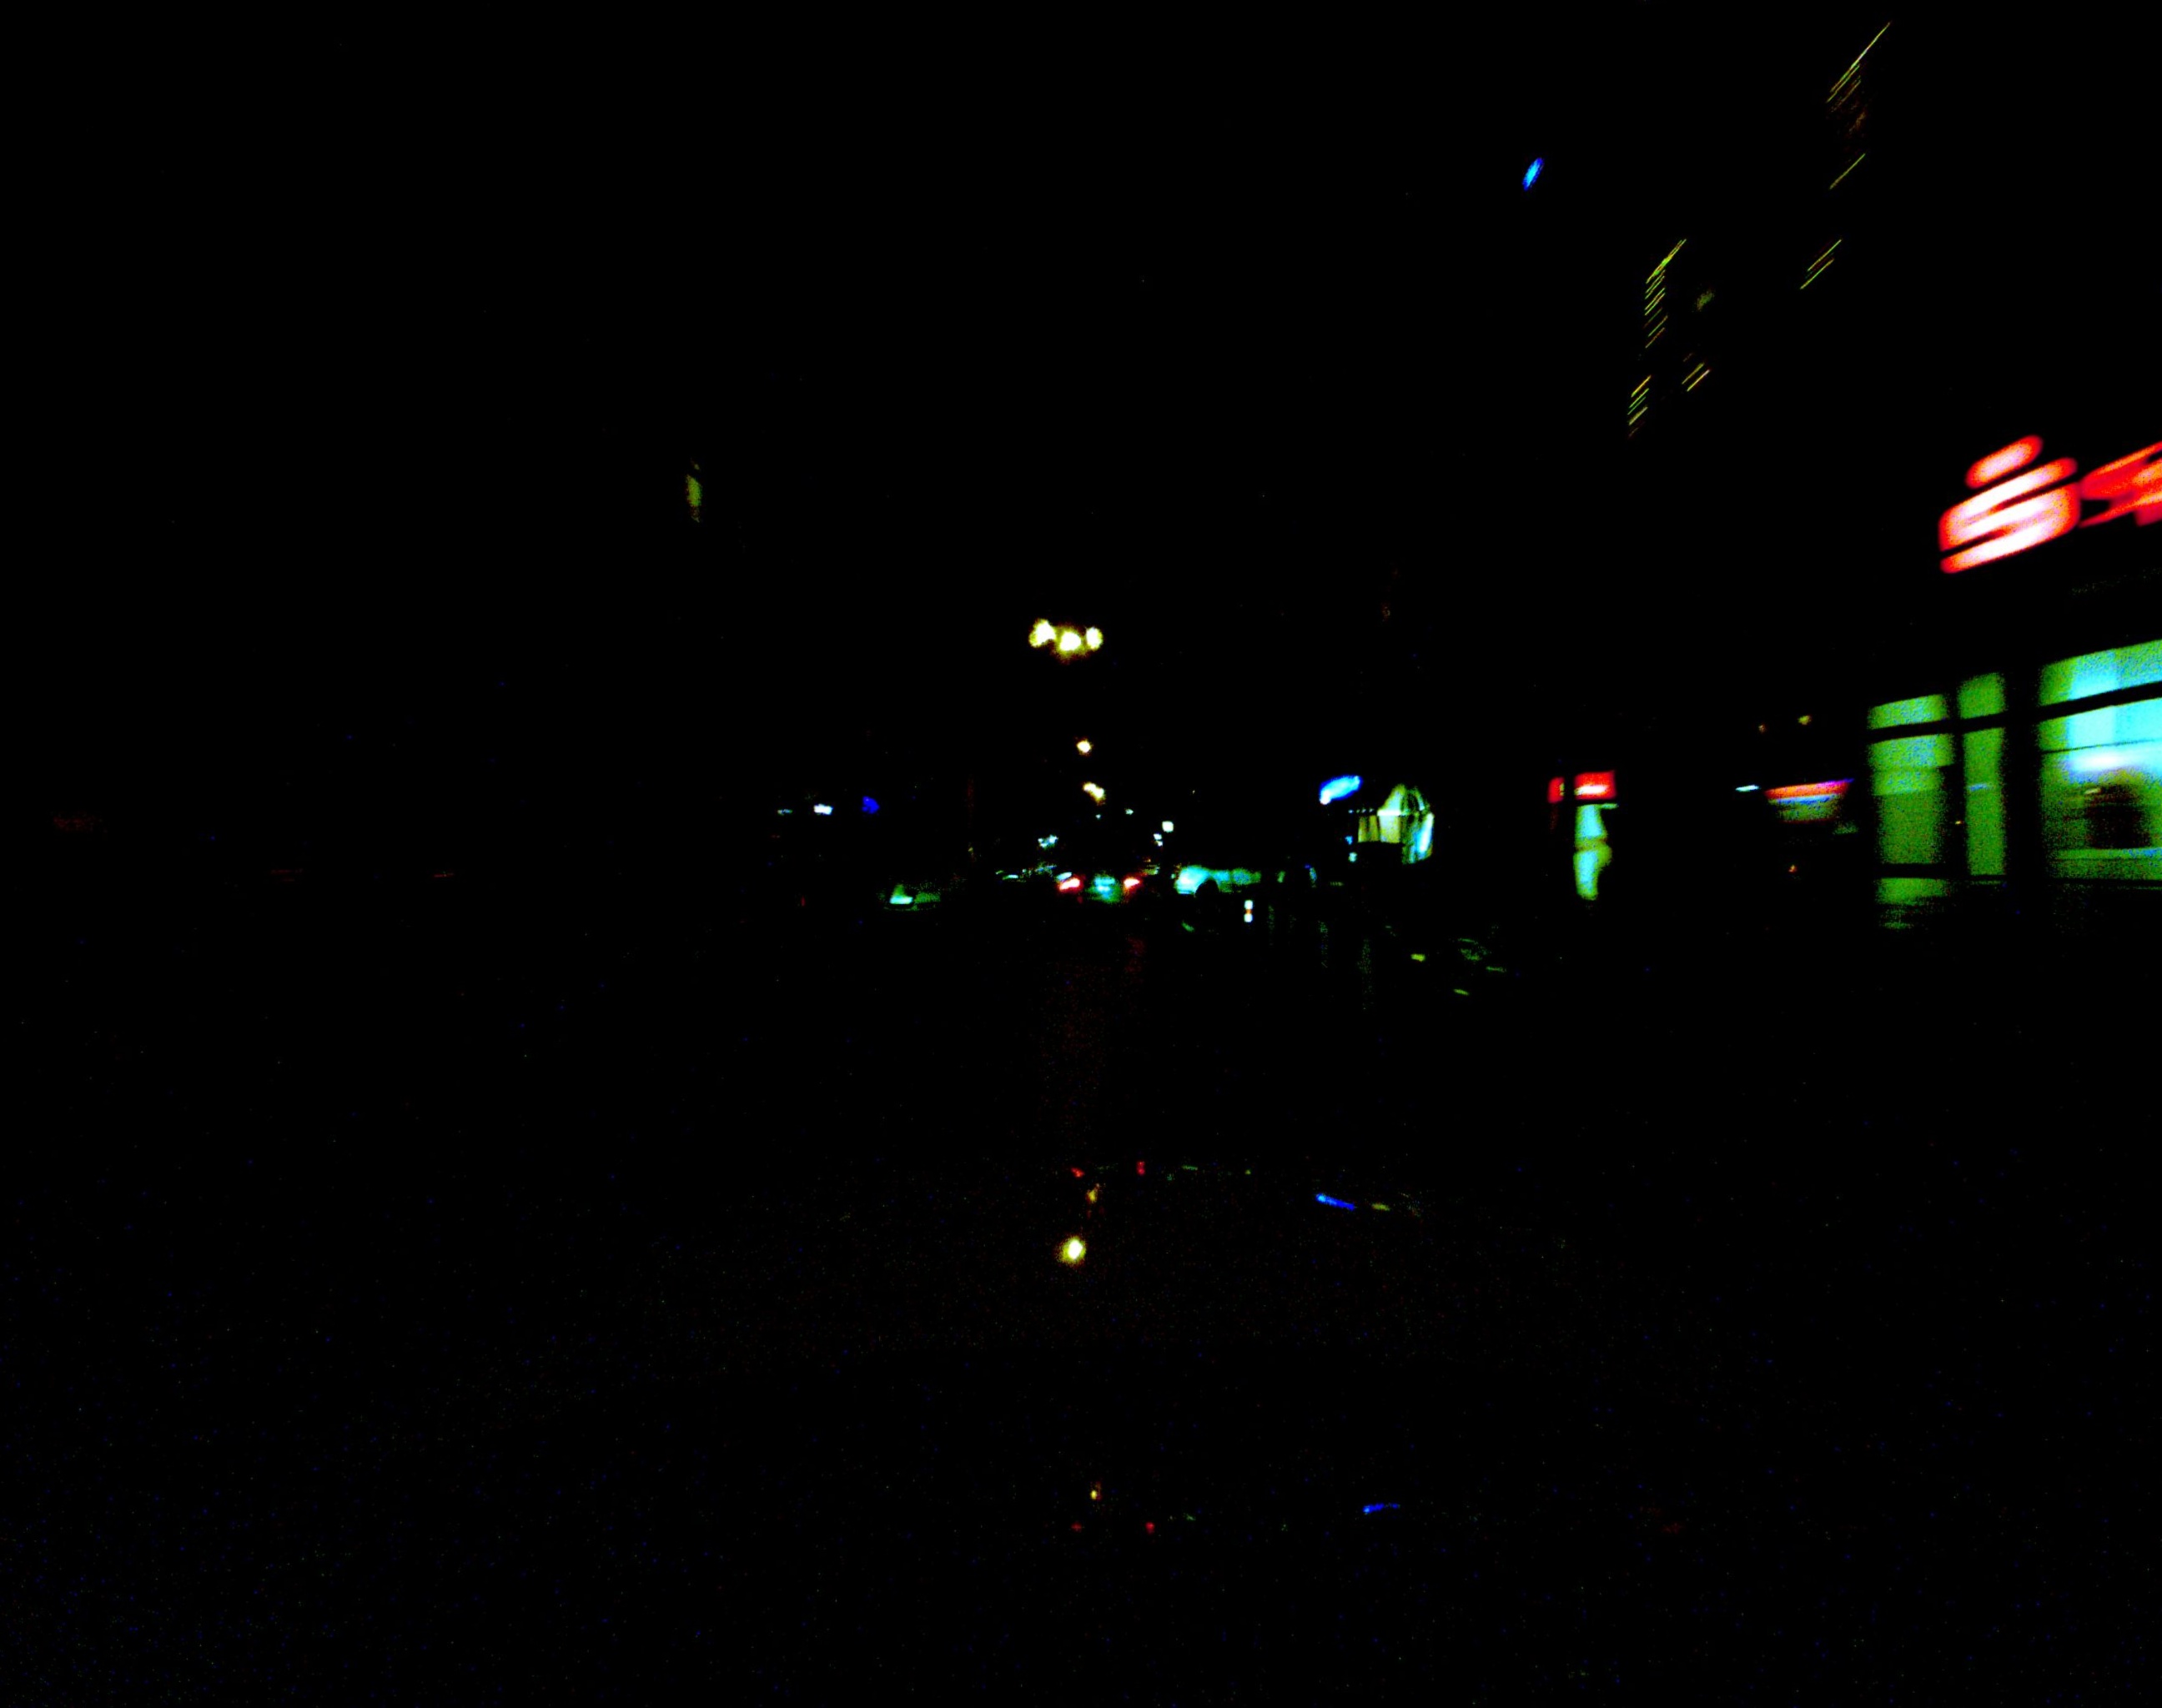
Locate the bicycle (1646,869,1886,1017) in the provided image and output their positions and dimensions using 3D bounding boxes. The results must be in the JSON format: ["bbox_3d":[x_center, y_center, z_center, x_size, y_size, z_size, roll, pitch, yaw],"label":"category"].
[{"bbox_3d":[5.379,0.682,6.424,1.525,0.952,0.366,-7,-1,-3],"label":"bicycle"}]

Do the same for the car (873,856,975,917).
[{"bbox_3d":[-4.428,0.855,23.736,1.760,1.483,4.775,2,0,3],"label":"car"}]

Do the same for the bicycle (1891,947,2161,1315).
[{"bbox_3d":[3.783,0.876,2.796,1.524,1.023,0.366,-7,-1,0],"label":"bicycle"}]

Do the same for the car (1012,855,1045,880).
[{"bbox_3d":[-3.431,0.838,53.693,1.768,1.572,4.136,-1,0,2],"label":"car"}]

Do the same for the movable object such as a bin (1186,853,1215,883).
[{"bbox_3d":[5.727,0.670,39.082,1.300,1.429,1.053,-1,0,11],"label":"movable object such as a bin"}]

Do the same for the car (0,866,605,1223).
[{"bbox_3d":[-5.079,0.852,5.363,1.563,1.460,3.722,-1,0,2],"label":"car"}]

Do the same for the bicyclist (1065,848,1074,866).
[{"bbox_3d":[-0.984,0.258,69.755,0.716,1.556,0.895,-2,0,1],"label":"bicyclist"}]

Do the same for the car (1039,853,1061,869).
[{"bbox_3d":[-2.986,0.672,78.816,1.826,1.486,4.596,-1,0,2],"label":"car"}]

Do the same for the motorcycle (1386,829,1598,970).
[{"bbox_3d":[5.243,0.565,10.504,2.165,1.547,0.867,-5,-1,1],"label":"motorcycle"}]

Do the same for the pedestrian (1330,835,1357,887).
[{"bbox_3d":[9.156,0.239,28.427,0.699,1.788,0.625,-3,1,5],"label":"pedestrian"}]

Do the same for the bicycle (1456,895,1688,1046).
[{"bbox_3d":[3.821,0.888,6.374,1.525,0.952,0.366,-7,-1,-3],"label":"bicycle"}]

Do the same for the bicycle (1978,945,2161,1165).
[{"bbox_3d":[5.039,0.838,3.626,1.521,0.833,0.326,-7,-1,5],"label":"bicycle"}]

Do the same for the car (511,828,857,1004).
[{"bbox_3d":[-4.907,0.644,11.188,1.988,1.829,5.209,-1,0,2],"label":"car"}]

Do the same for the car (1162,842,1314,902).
[{"bbox_3d":[4.987,0.554,26.298,4.496,1.530,1.780,-4,0,1],"label":"car"}]

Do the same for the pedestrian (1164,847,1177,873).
[{"bbox_3d":[6.360,0.401,57.967,0.858,1.788,1.084,-3,1,5],"label":"pedestrian"}]

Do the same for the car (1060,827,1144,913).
[{"bbox_3d":[0.607,0.385,22.093,1.988,2.049,4.697,-1,0,2],"label":"car"}]

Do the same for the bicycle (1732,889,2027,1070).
[{"bbox_3d":[5.212,0.795,5.343,1.525,0.952,0.366,-7,-1,-3],"label":"bicycle"}]

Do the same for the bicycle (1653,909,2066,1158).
[{"bbox_3d":[3.856,0.886,4.102,1.521,1.023,0.367,-7,-1,5],"label":"bicycle"}]

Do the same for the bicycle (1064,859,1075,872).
[{"bbox_3d":[-0.977,0.974,69.743,0.724,1.072,2.349,-2,0,2],"label":"bicycle"}]

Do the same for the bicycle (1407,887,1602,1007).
[{"bbox_3d":[3.985,0.877,7.738,1.520,0.952,0.367,-7,-1,9],"label":"bicycle"}]

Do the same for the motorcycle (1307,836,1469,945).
[{"bbox_3d":[5.123,0.597,13.717,2.280,1.588,0.867,-5,-1,1],"label":"motorcycle"}]

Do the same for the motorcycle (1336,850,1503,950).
[{"bbox_3d":[5.266,0.701,12.772,2.165,1.318,0.867,-5,-1,1],"label":"motorcycle"}]

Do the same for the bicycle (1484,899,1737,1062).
[{"bbox_3d":[3.824,0.896,5.916,1.525,0.952,0.366,-7,-1,-3],"label":"bicycle"}]

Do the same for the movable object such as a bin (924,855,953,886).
[{"bbox_3d":[-6.996,0.803,40.029,1.098,1.454,1.378,-2,0,0],"label":"movable object such as a bin"}]

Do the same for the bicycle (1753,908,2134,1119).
[{"bbox_3d":[4.740,0.872,4.532,1.521,0.952,0.367,-7,-1,5],"label":"bicycle"}]

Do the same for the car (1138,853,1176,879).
[{"bbox_3d":[4.540,0.688,49.099,1.986,1.464,4.418,-1,0,2],"label":"car"}]

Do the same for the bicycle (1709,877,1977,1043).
[{"bbox_3d":[5.381,0.725,5.777,1.525,0.952,0.366,-7,-1,-4],"label":"bicycle"}]

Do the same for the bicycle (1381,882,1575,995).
[{"bbox_3d":[4.023,0.860,8.330,1.660,0.952,0.367,-7,-1,9],"label":"bicycle"}]

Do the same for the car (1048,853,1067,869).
[{"bbox_3d":[-2.542,0.740,89.804,1.826,1.717,4.596,-1,0,2],"label":"car"}]

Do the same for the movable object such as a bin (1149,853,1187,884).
[{"bbox_3d":[4.152,0.670,38.738,1.347,1.429,1.188,-1,0,-35],"label":"movable object such as a bin"}]

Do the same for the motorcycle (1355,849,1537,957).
[{"bbox_3d":[5.261,0.687,11.840,2.165,1.318,0.867,-5,-1,1],"label":"motorcycle"}]

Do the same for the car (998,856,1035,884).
[{"bbox_3d":[-3.618,0.873,46.322,1.666,1.491,3.723,0,0,2],"label":"car"}]
